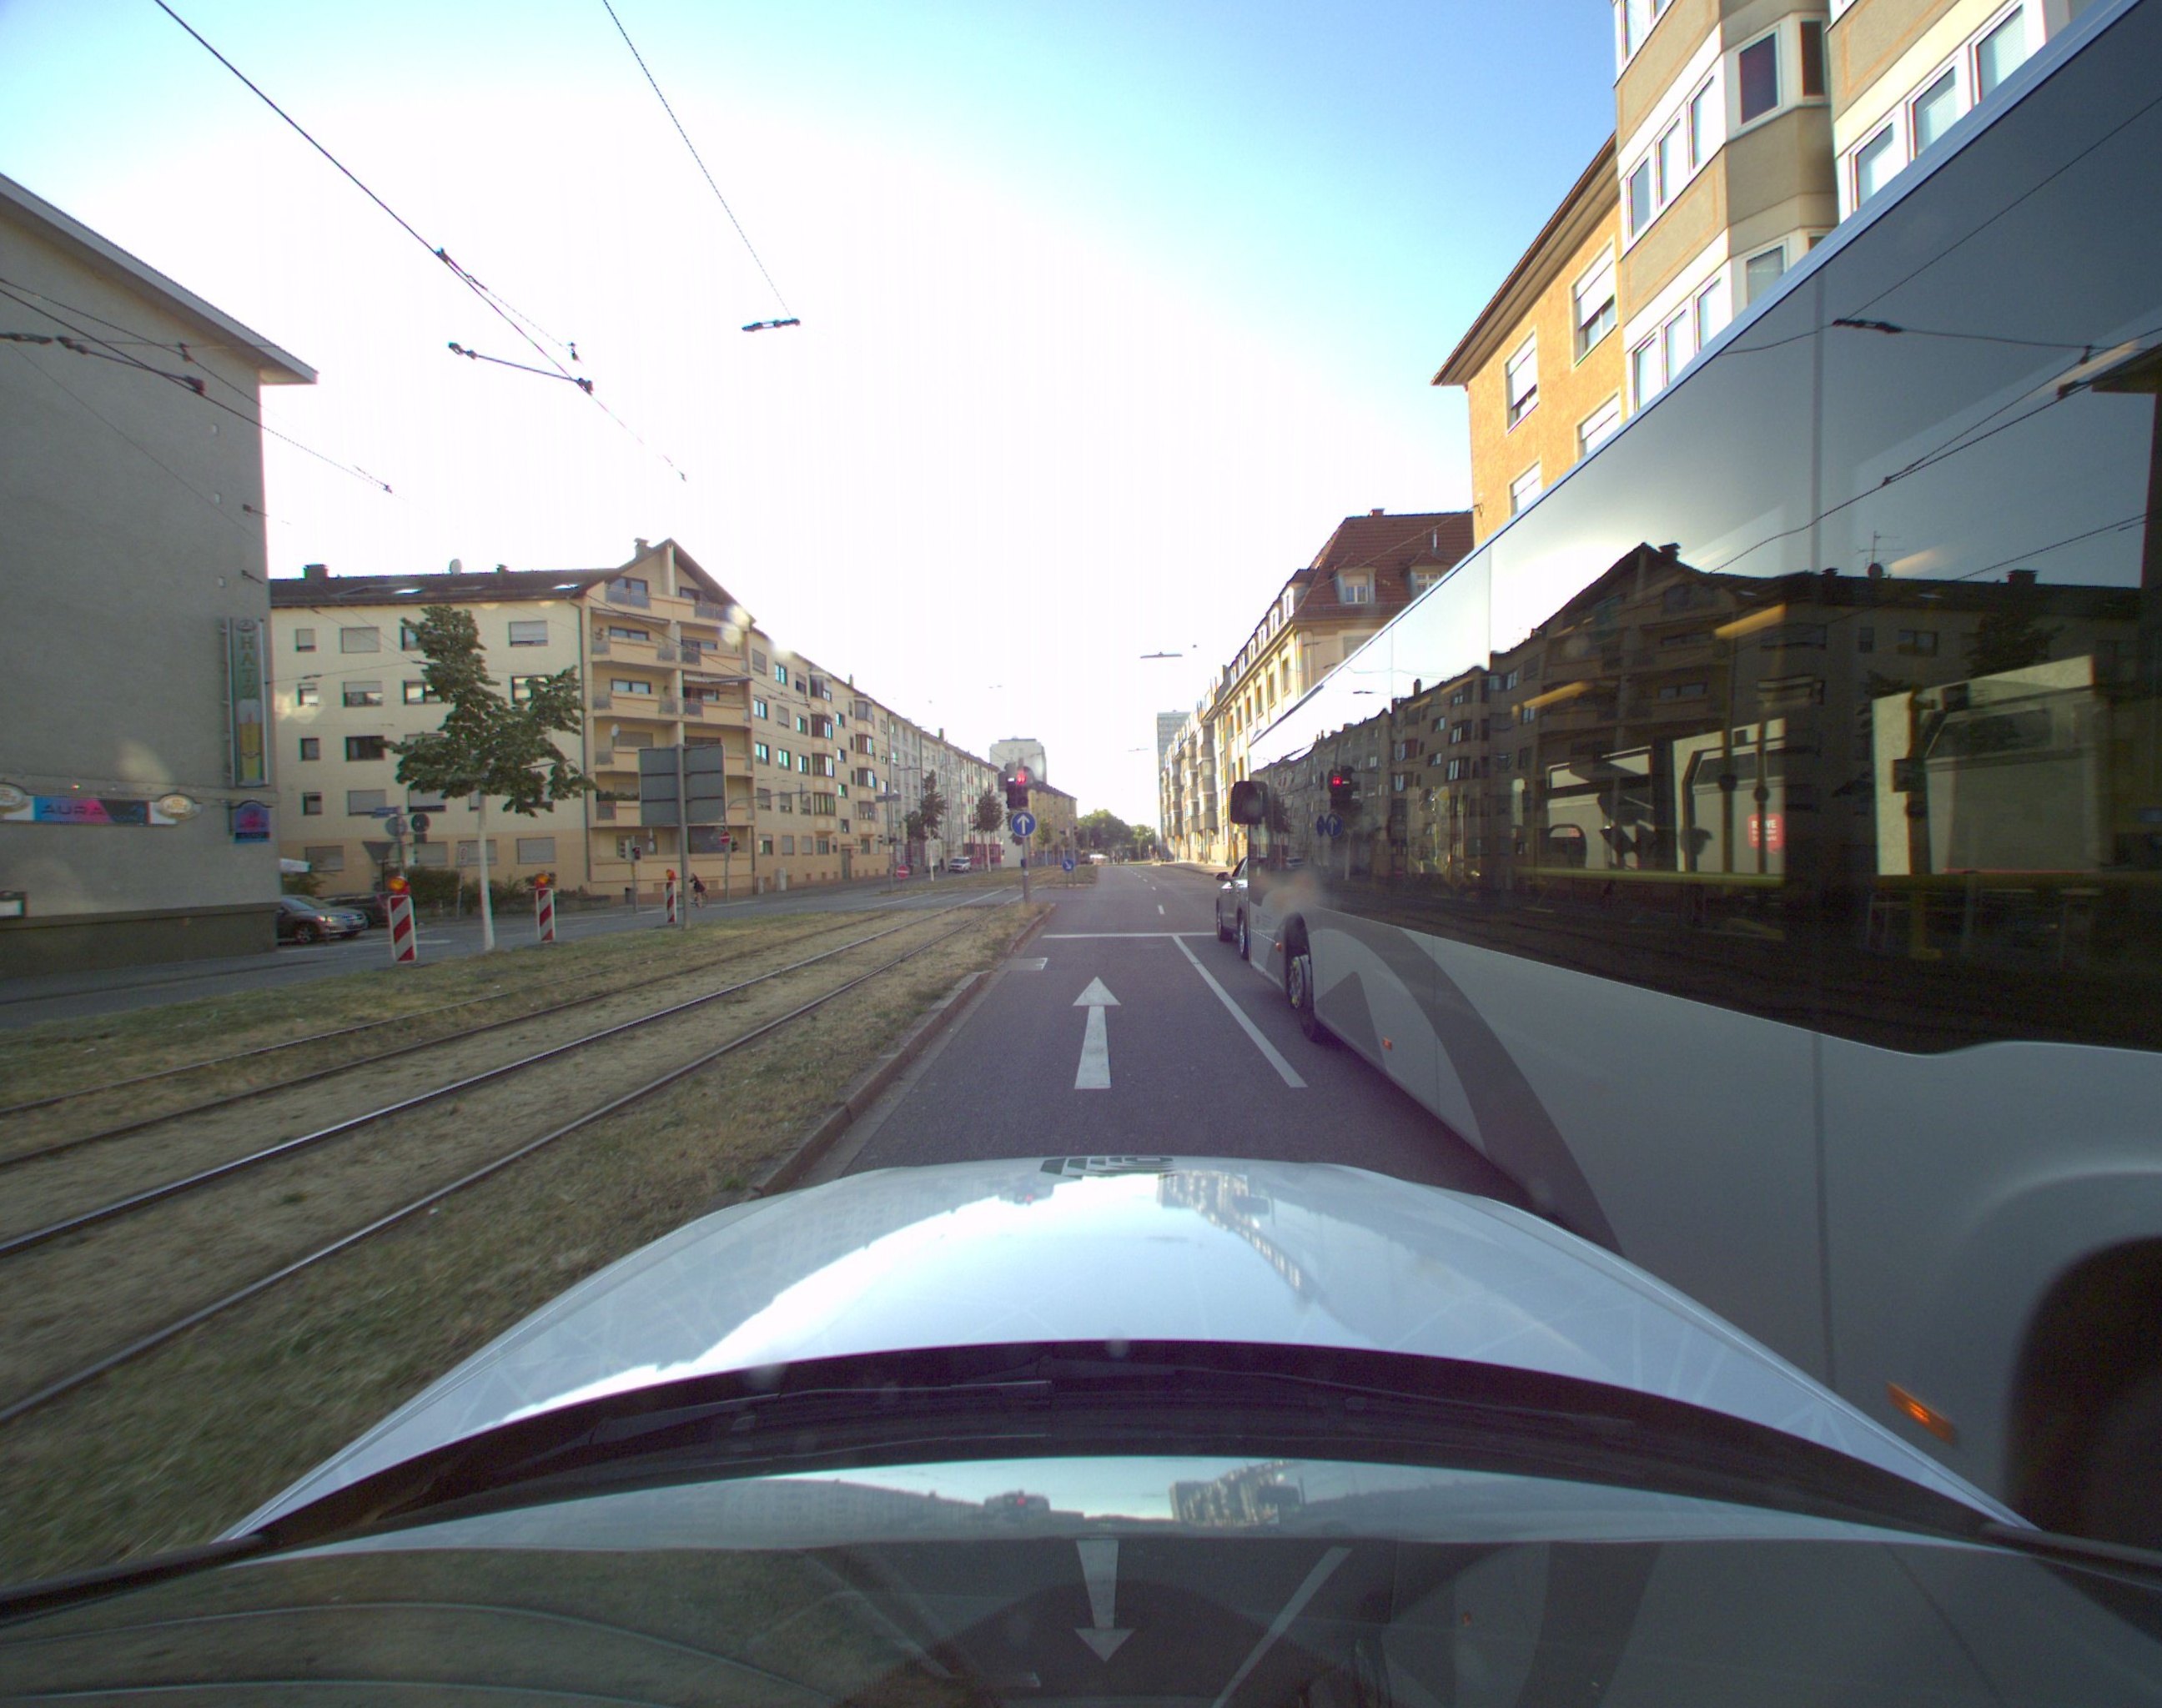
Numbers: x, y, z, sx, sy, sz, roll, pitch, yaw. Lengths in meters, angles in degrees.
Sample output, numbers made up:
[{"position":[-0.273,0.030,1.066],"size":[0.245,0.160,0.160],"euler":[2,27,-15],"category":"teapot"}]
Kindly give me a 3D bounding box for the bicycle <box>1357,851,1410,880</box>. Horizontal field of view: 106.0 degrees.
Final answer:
[{"position":[12.244,0.463,33.008],"size":[1.938,1.094,0.575],"euler":[-2,0,-1],"category":"bicycle"}]

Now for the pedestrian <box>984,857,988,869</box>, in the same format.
[{"position":[-13.545,1.277,116.367],"size":[0.493,1.658,0.409],"euler":[-3,0,2],"category":"pedestrian"}]

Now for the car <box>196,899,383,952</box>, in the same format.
[{"position":[-26.132,2.326,27.023],"size":[4.106,1.388,1.761],"euler":[-3,0,-9],"category":"car"}]

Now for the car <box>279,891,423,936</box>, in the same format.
[{"position":[-29.617,2.386,33.152],"size":[3.957,1.439,1.785],"euler":[-3,0,-9],"category":"car"}]

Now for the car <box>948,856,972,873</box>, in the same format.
[{"position":[-13.888,1.205,93.637],"size":[1.804,1.798,4.248],"euler":[-1,-1,3],"category":"car"}]

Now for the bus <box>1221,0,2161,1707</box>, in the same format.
[{"position":[2.886,-0.095,4.879],"size":[2.728,3.056,9.134],"euler":[-1,0,2],"category":"bus"}]

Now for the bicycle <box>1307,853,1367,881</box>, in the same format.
[{"position":[9.733,0.495,30.972],"size":[1.977,0.894,0.784],"euler":[-4,-1,-8],"category":"bicycle"}]

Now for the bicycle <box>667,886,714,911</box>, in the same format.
[{"position":[-17.744,2.028,37.077],"size":[0.522,0.984,1.895],"euler":[-3,0,32],"category":"bicycle"}]

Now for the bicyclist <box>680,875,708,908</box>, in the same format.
[{"position":[-17.674,1.700,37.218],"size":[0.522,1.447,0.971],"euler":[-3,0,32],"category":"bicyclist"}]

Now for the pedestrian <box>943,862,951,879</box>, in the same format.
[{"position":[-15.541,1.907,94.412],"size":[0.784,2.013,0.890],"euler":[-3,0,-2],"category":"pedestrian"}]

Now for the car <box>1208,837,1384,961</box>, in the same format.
[{"position":[3.198,0.605,12.950],"size":[1.763,1.575,4.087],"euler":[-3,0,2],"category":"car"}]
